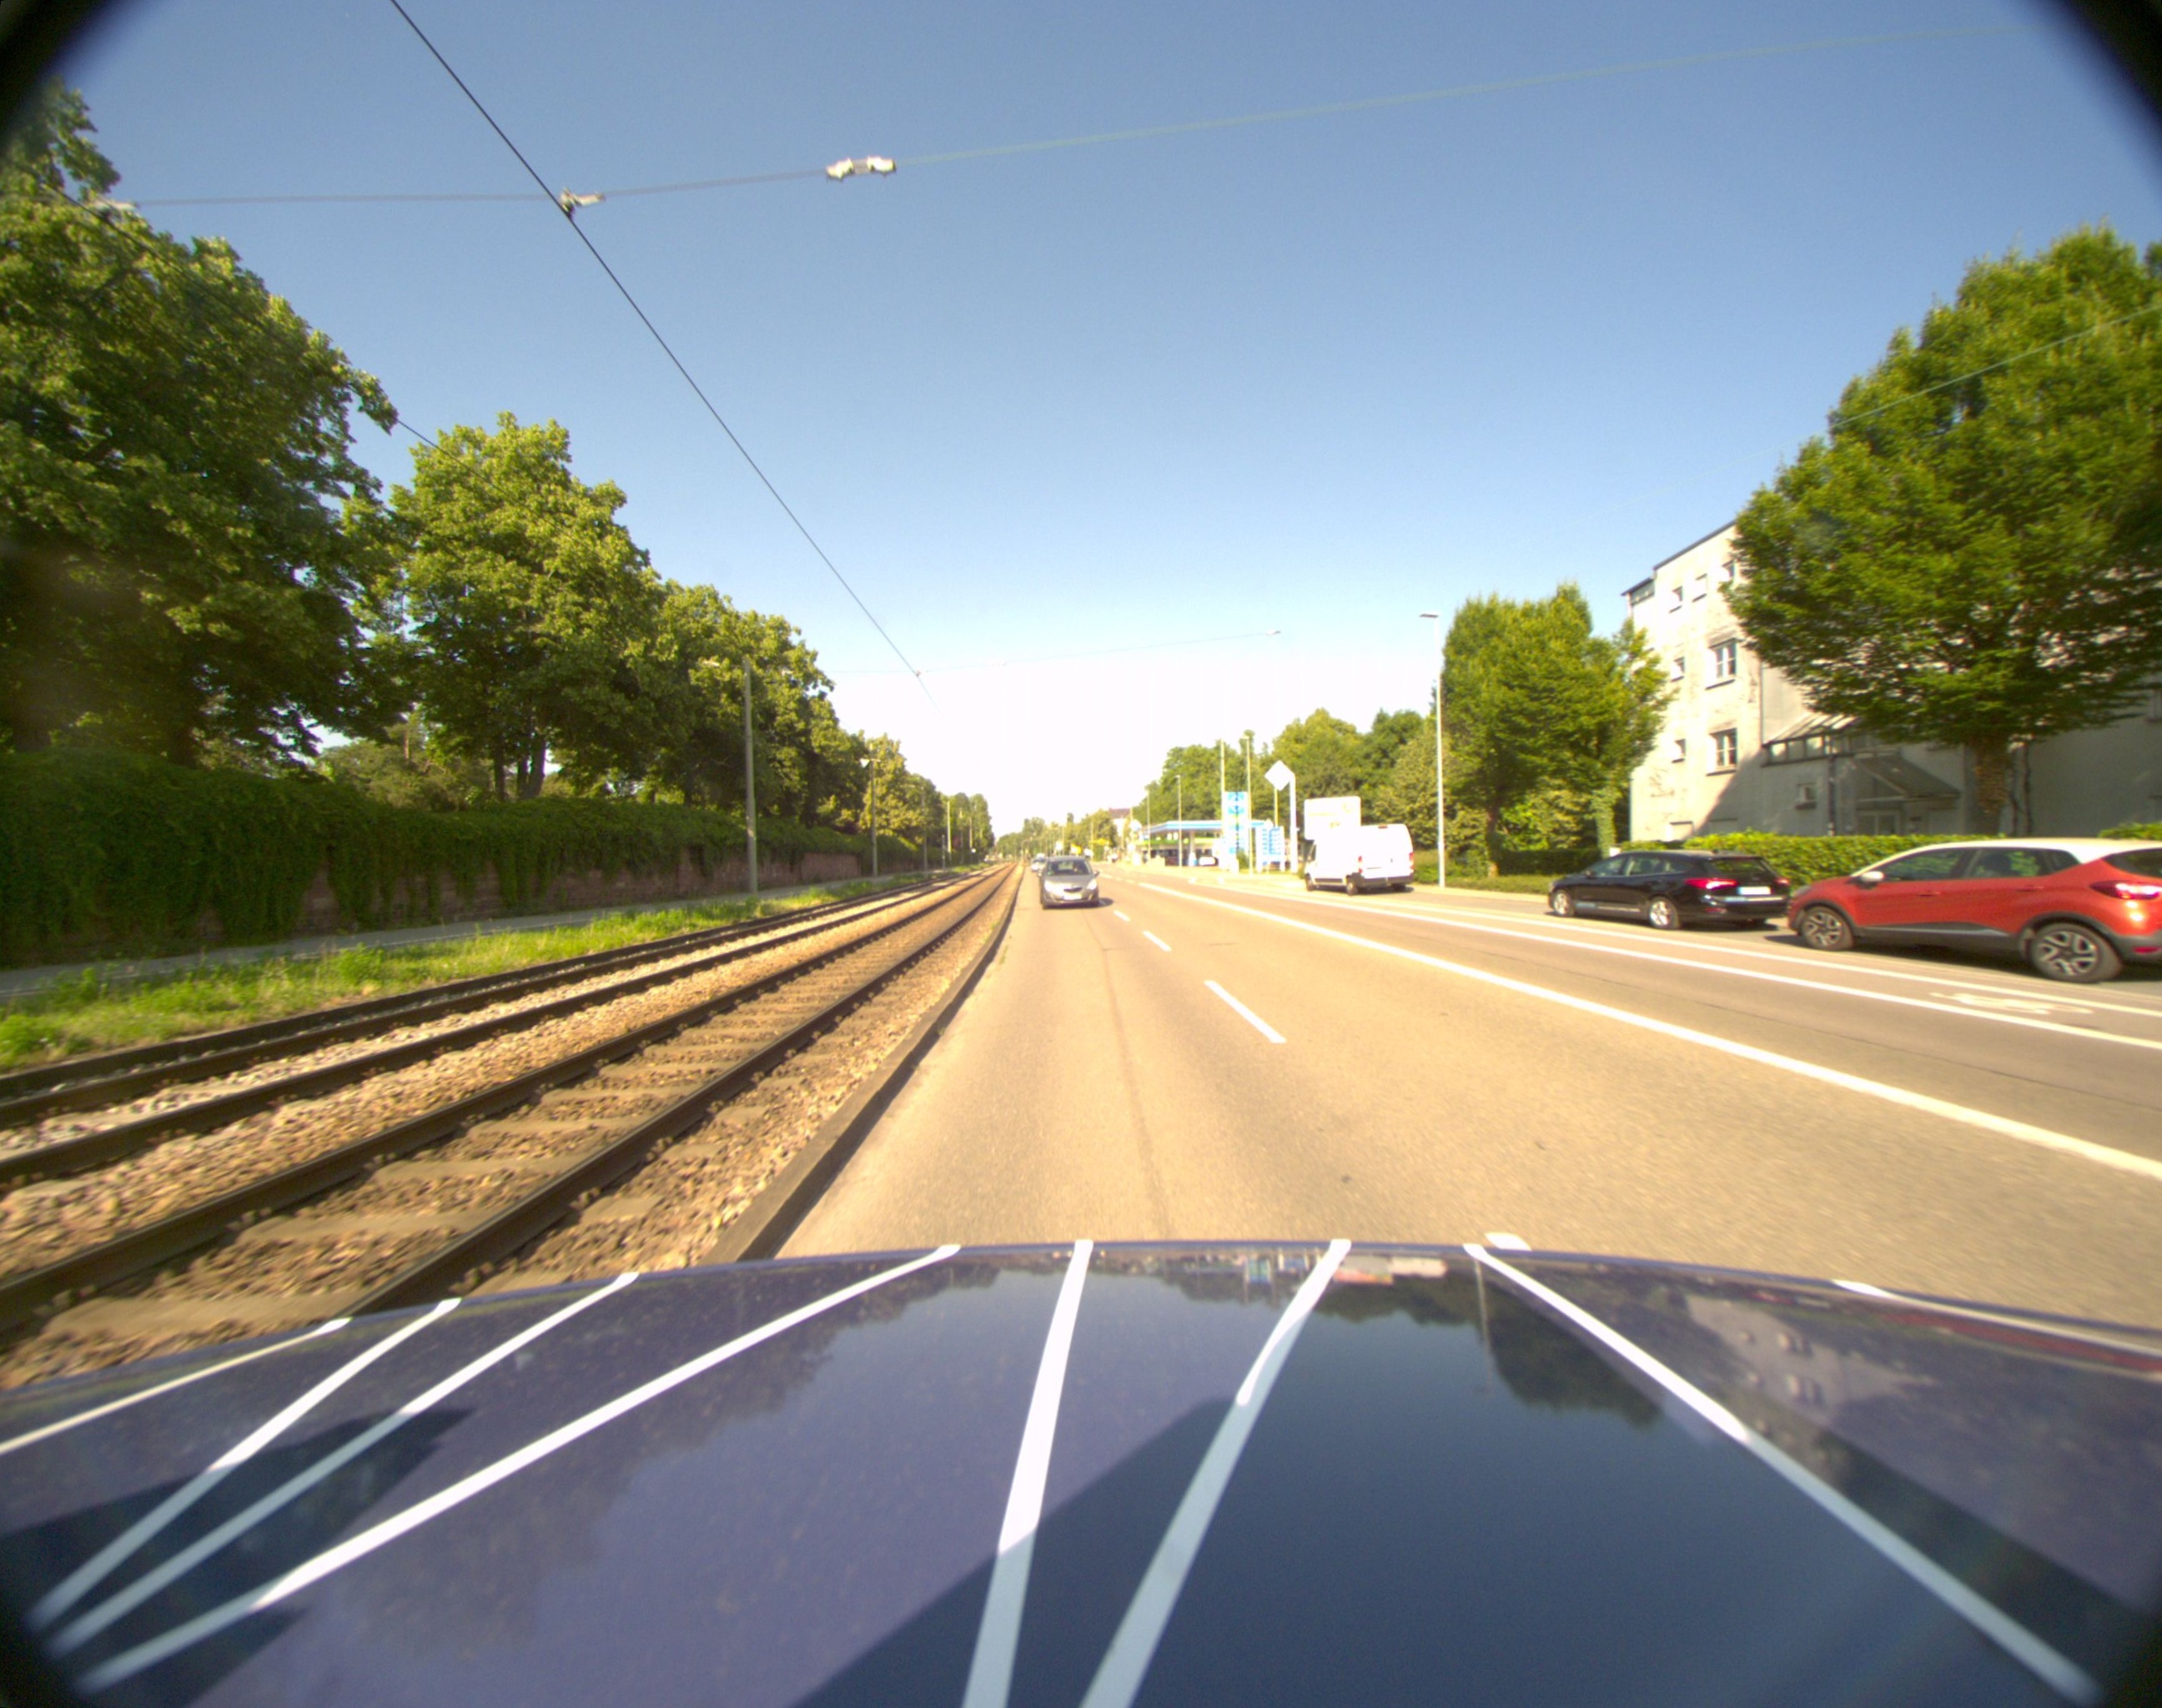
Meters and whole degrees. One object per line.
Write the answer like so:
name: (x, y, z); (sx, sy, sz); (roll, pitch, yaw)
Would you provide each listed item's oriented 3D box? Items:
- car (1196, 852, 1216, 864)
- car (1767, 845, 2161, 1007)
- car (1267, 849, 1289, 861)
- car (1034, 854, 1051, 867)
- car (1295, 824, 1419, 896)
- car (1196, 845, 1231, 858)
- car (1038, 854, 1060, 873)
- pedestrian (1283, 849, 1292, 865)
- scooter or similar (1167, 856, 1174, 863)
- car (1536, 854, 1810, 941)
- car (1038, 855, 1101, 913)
car: (16.440, 0.515, 100.110); (1.741, 1.482, 4.273); (-1, 0, -3)
car: (11.490, 0.689, 9.639); (1.767, 1.565, 4.160); (-1, 1, -1)
car: (25.850, 0.123, 99.681); (1.741, 1.437, 3.999); (-1, 0, -1)
car: (-4.173, 0.684, 81.515); (1.579, 1.306, 3.998); (-3, 0, -6)
car: (10.668, 0.231, 30.032); (2.158, 2.443, 6.181); (-3, 0, -4)
car: (20.387, -0.365, 117.268); (5.083, 1.929, 1.857); (-1, 0, 0)
car: (-2.873, 0.810, 67.229); (1.711, 1.487, 3.998); (-3, 0, -5)
pedestrian: (22.691, 0.310, 83.487); (0.823, 1.703, 1.067); (-1, 0, 9)
scooter or similar: (13.836, 0.817, 117.730); (1.031, 1.103, 0.350); (-1, 0, 3)
car: (11.338, 0.729, 15.089); (1.656, 1.416, 4.712); (-1, 0, -2)
car: (-0.449, 0.884, 24.171); (1.731, 1.574, 3.761); (-2, 1, -4)
